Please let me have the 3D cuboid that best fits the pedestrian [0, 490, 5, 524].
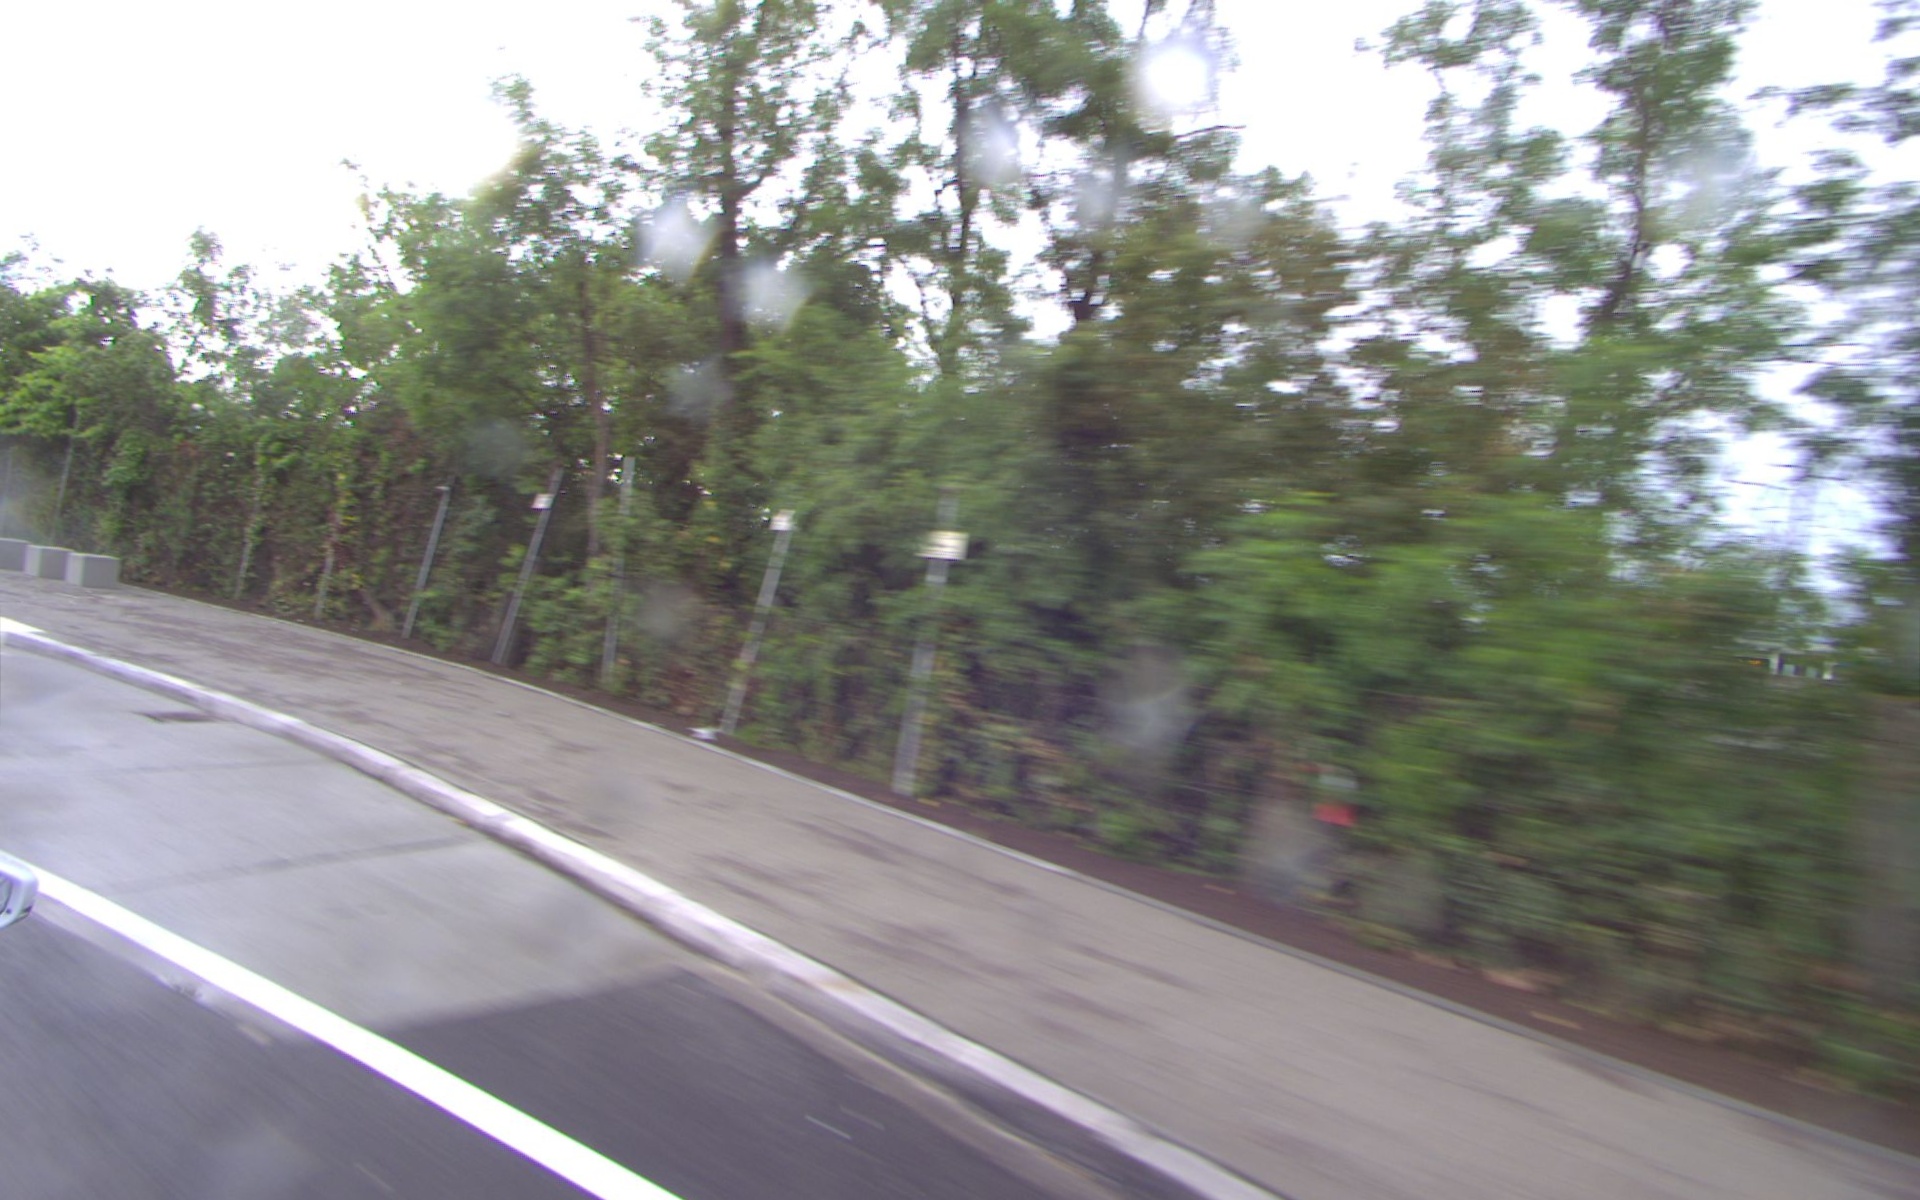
[{"bbox_3d":[-18.007,-1.394,18.114,1.049,1.383,0.879,9,0,37],"label":"pedestrian"}]
